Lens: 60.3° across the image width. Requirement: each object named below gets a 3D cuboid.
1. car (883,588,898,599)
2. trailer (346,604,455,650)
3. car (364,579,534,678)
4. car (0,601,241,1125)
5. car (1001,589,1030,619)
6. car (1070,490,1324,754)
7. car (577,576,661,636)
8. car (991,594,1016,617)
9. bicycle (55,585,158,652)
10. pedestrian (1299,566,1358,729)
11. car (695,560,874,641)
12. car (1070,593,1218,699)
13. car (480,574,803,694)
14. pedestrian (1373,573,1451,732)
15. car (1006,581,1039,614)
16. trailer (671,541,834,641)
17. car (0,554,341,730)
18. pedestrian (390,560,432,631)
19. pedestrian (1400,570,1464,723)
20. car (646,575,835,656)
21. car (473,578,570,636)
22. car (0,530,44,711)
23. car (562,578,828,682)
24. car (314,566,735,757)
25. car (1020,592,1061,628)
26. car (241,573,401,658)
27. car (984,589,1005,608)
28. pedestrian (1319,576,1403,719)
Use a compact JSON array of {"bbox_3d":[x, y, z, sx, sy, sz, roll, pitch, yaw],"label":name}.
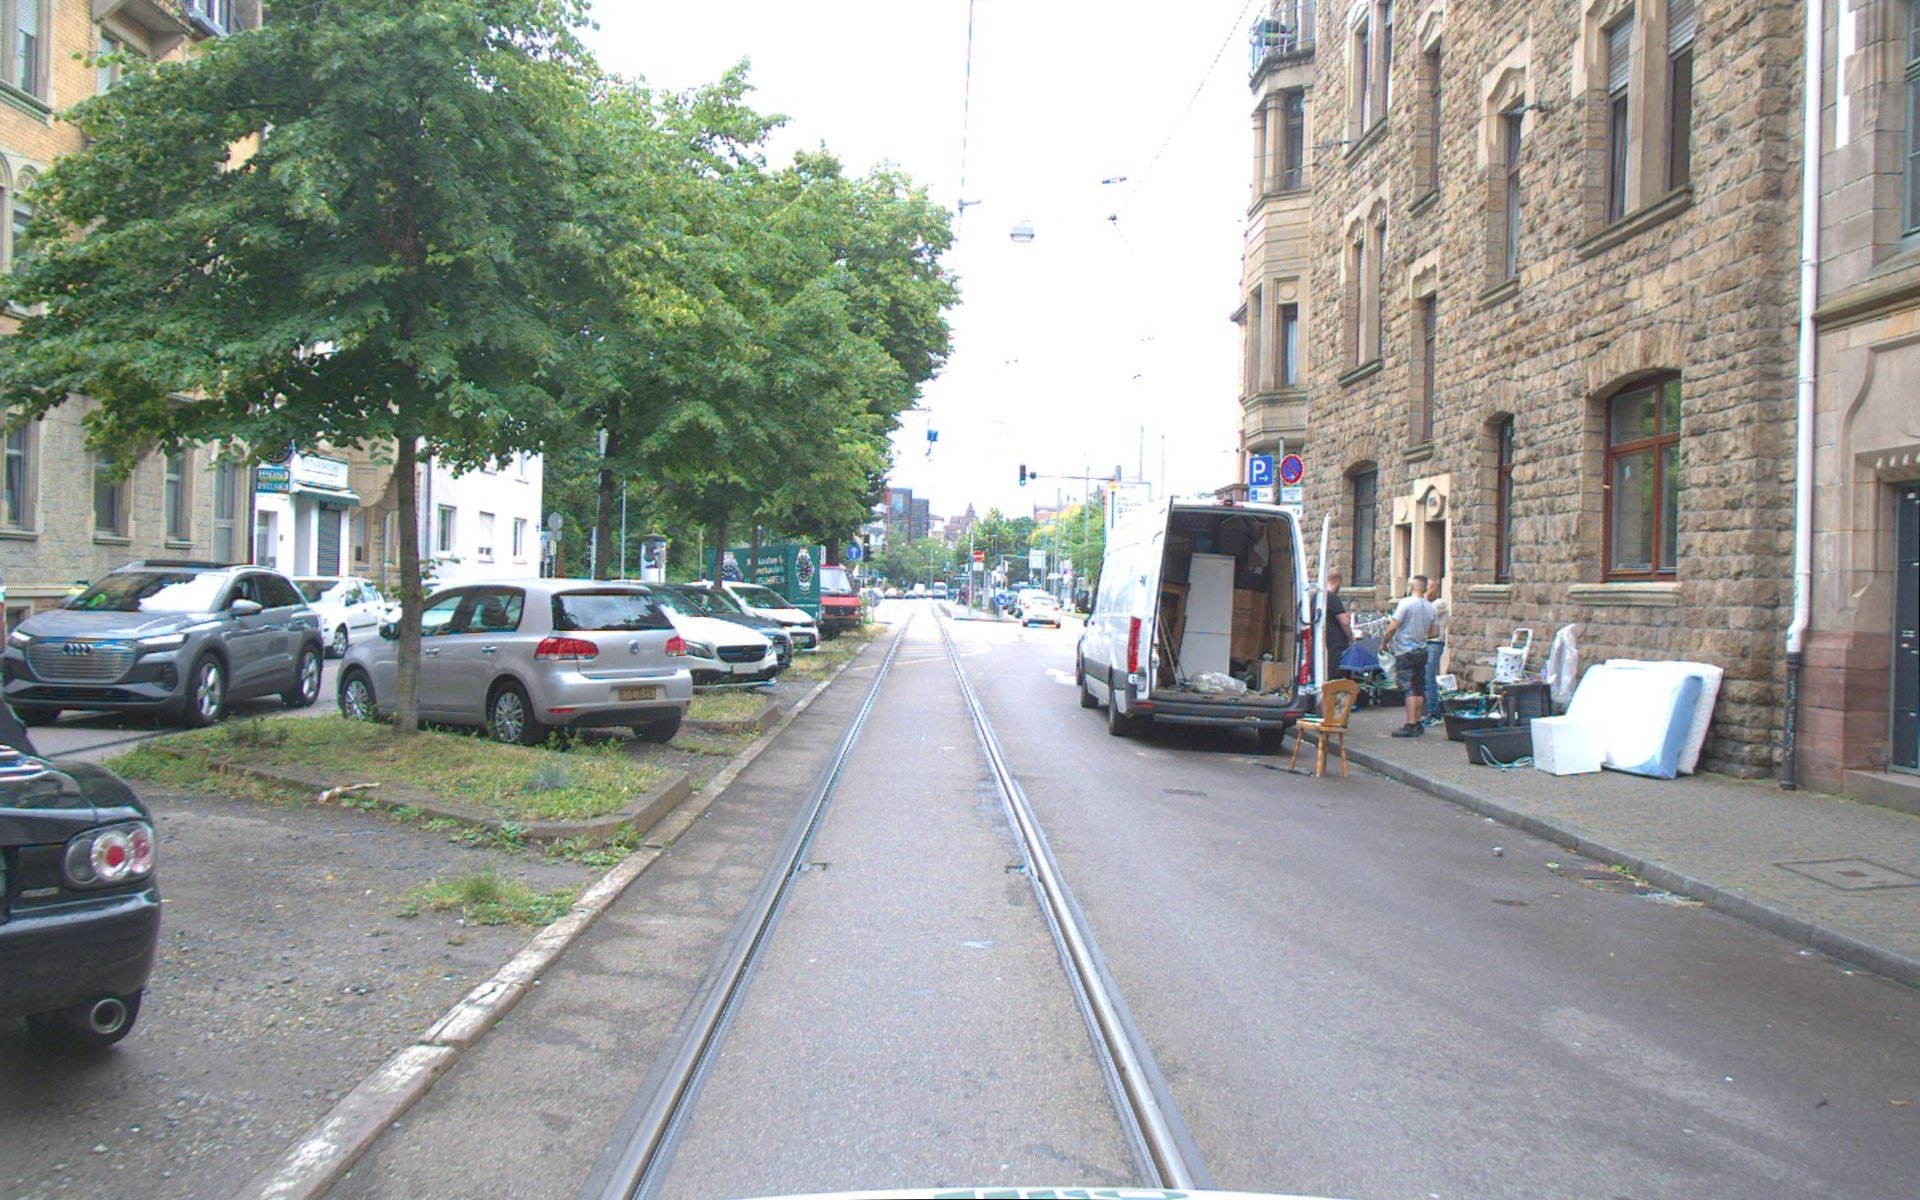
[{"bbox_3d":[-10.027,-1.002,239.256,1.733,1.519,3.889,1,0,5],"label":"car"},{"bbox_3d":[-12.005,0.564,35.642,1.425,0.908,3.075,0,0,-3],"label":"trailer"},{"bbox_3d":[-8.709,0.453,28.594,1.611,1.530,4.620,1,0,-2],"label":"car"},{"bbox_3d":[-3.904,0.600,5.097,3.893,1.223,1.658,2,0,43],"label":"car"},{"bbox_3d":[3.826,0.282,114.748,1.746,1.997,4.381,2,0,-1],"label":"car"},{"bbox_3d":[2.654,0.199,20.398,1.972,2.593,7.016,3,0,0],"label":"car"},{"bbox_3d":[-9.378,0.156,45.708,1.611,1.530,3.882,1,0,-2],"label":"car"},{"bbox_3d":[3.469,0.437,132.024,1.746,1.709,4.381,2,0,-1],"label":"car"},{"bbox_3d":[-14.748,0.298,28.651,0.696,1.091,2.258,2,0,-3],"label":"bicycle"},{"bbox_3d":[4.284,0.541,19.254,0.488,1.847,0.803,-1,0,0],"label":"pedestrian"},{"bbox_3d":[-4.725,-0.015,44.172,4.675,2.009,1.951,1,0,37],"label":"car"},{"bbox_3d":[2.869,0.664,26.807,1.787,1.475,5.006,2,0,0],"label":"car"},{"bbox_3d":[-4.509,0.418,23.085,4.599,1.460,1.890,2,0,38],"label":"car"},{"bbox_3d":[5.064,0.573,18.531,0.695,1.729,0.488,-1,0,-29],"label":"pedestrian"},{"bbox_3d":[3.854,-0.178,102.874,1.746,1.997,4.381,2,0,-1],"label":"car"},{"bbox_3d":[-5.183,-0.249,41.265,3.593,2.385,1.926,1,0,31],"label":"trailer"},{"bbox_3d":[-8.320,0.391,17.700,1.768,1.606,4.545,1,0,-2],"label":"car"},{"bbox_3d":[-14.204,-0.115,42.779,0.781,1.797,0.900,1,0,-2],"label":"pedestrian"},{"bbox_3d":[5.518,0.534,19.361,0.499,1.747,0.579,-1,0,-11],"label":"pedestrian"},{"bbox_3d":[-4.447,0.279,33.293,3.793,1.488,1.680,2,0,41],"label":"car"},{"bbox_3d":[-12.002,0.169,45.517,1.602,1.468,4.568,2,0,-3],"label":"car"},{"bbox_3d":[-11.397,0.203,16.437,1.843,1.986,5.092,1,0,-2],"label":"car"},{"bbox_3d":[-4.259,0.433,26.249,4.262,1.460,1.888,2,0,41],"label":"car"},{"bbox_3d":[-4.144,0.486,15.450,4.041,1.510,1.788,2,0,40],"label":"car"},{"bbox_3d":[3.614,0.428,74.234,1.745,1.498,4.011,2,0,2],"label":"car"},{"bbox_3d":[-11.932,0.259,31.119,1.602,1.468,3.921,2,0,-3],"label":"car"},{"bbox_3d":[3.156,-0.144,152.543,1.746,1.709,4.381,2,0,-1],"label":"car"},{"bbox_3d":[4.958,0.577,20.477,0.848,1.729,0.535,-1,0,-16],"label":"pedestrian"}]
